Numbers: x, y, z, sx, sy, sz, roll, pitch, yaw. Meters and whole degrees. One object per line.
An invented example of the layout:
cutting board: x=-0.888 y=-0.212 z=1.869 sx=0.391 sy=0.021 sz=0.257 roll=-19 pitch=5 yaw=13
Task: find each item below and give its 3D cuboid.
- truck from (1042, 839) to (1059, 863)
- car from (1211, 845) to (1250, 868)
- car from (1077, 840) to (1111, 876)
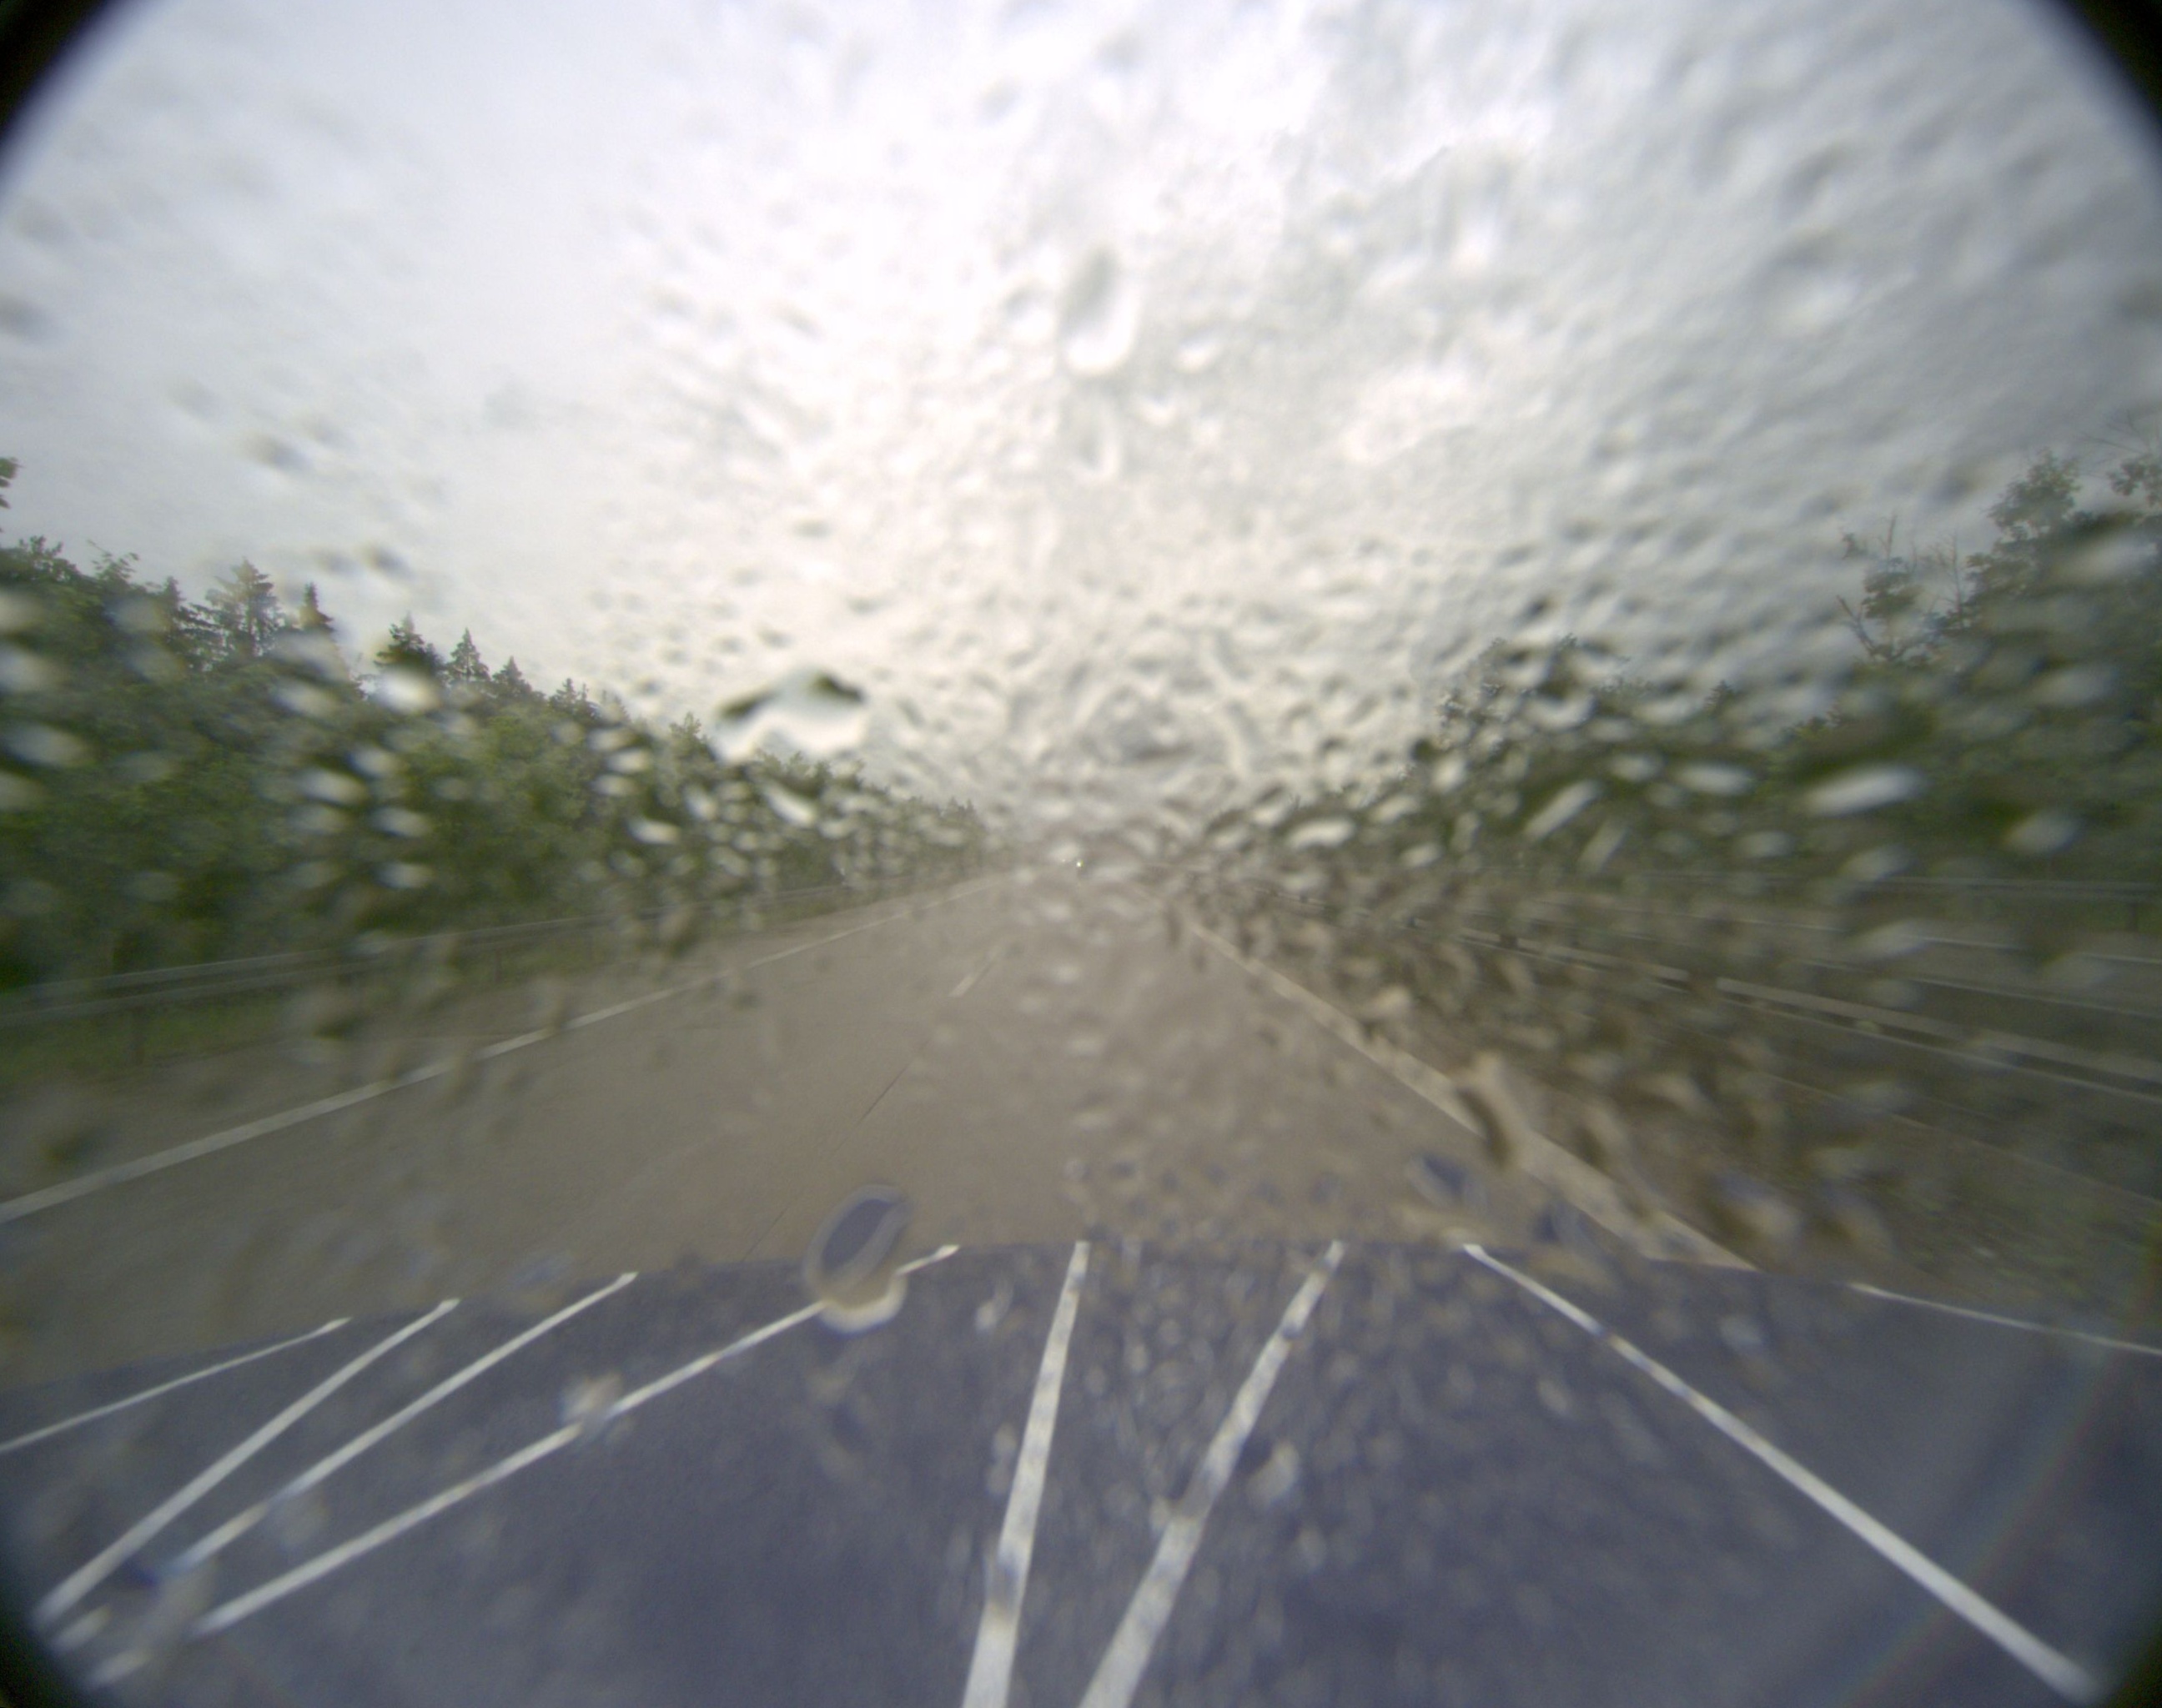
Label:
truck: x=-5.367 y=-0.539 z=133.378 sx=2.767 sy=4.063 sz=5.436 roll=1 pitch=-1 yaw=-3
car: x=10.917 y=0.194 z=55.634 sx=1.999 sy=1.573 sz=3.999 roll=-2 pitch=0 yaw=-1
car: x=0.746 y=0.310 z=47.225 sx=1.796 sy=2.113 sz=4.524 roll=1 pitch=-1 yaw=-3
